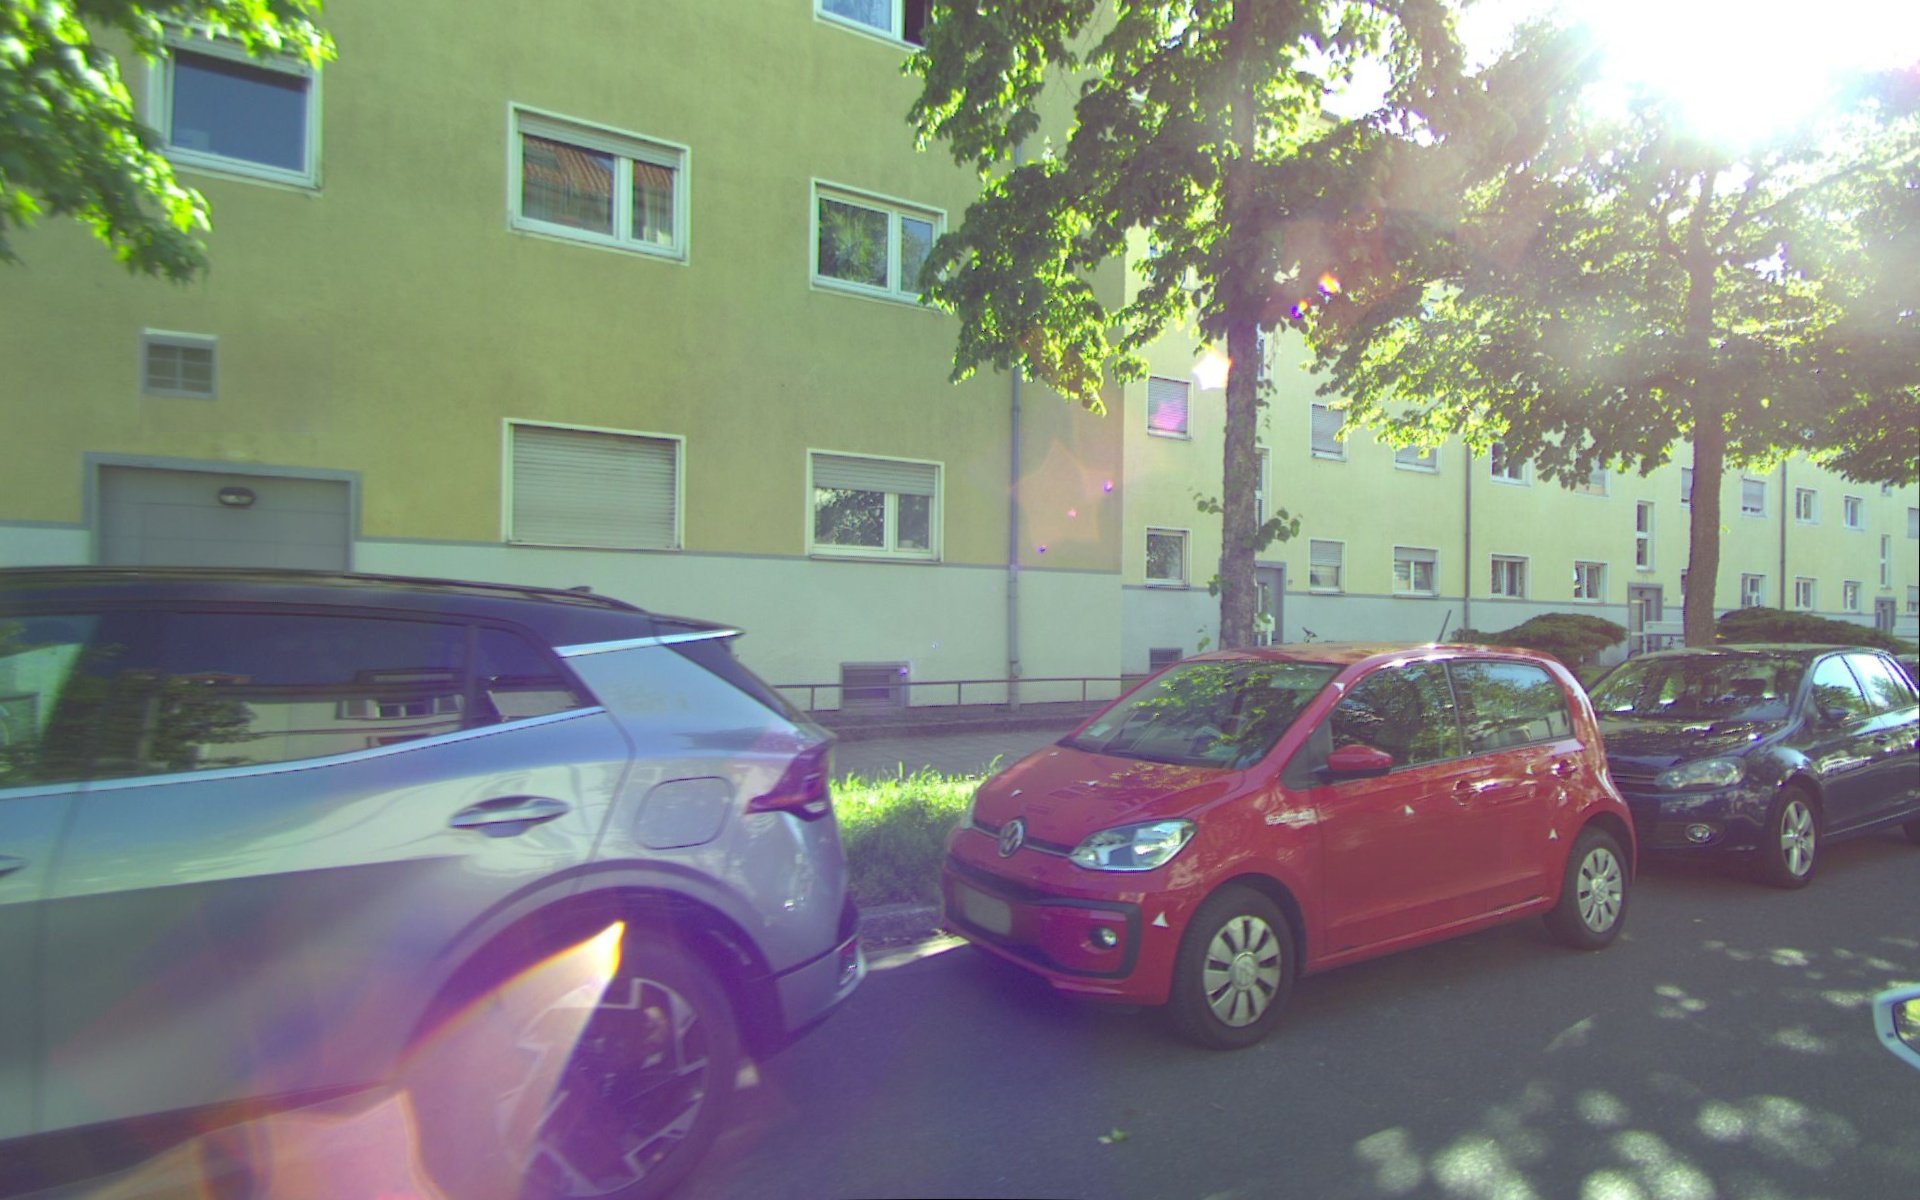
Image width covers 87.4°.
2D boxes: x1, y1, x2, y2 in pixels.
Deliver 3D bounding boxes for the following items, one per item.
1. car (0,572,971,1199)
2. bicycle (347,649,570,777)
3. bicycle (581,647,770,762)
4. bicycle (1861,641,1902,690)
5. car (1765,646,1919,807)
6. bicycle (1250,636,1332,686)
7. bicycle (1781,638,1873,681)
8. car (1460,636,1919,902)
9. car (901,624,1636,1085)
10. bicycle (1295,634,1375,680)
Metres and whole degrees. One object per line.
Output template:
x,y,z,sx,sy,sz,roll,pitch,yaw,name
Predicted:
-2.391,0.748,2.556,4.682,1.585,1.682,1,-1,-32,car
-4.451,0.967,9.000,1.726,1.040,0.538,1,-1,-28,bicycle
-2.802,1.000,9.965,1.726,1.040,0.533,1,-1,-28,bicycle
22.145,1.551,24.168,0.479,1.095,1.839,3,0,36,bicycle
10.277,1.169,10.182,4.618,1.386,1.738,1,-2,-30,car
6.566,1.188,19.987,0.476,0.943,1.624,1,-2,-32,bicycle
23.483,1.606,27.235,0.481,1.095,1.829,1,-1,-32,bicycle
5.642,1.016,7.384,3.885,1.478,1.657,1,-1,-30,car
1.517,0.884,4.843,3.217,1.505,1.657,1,-1,-30,car
8.022,1.205,21.543,0.477,0.943,1.620,1,-2,-37,bicycle
